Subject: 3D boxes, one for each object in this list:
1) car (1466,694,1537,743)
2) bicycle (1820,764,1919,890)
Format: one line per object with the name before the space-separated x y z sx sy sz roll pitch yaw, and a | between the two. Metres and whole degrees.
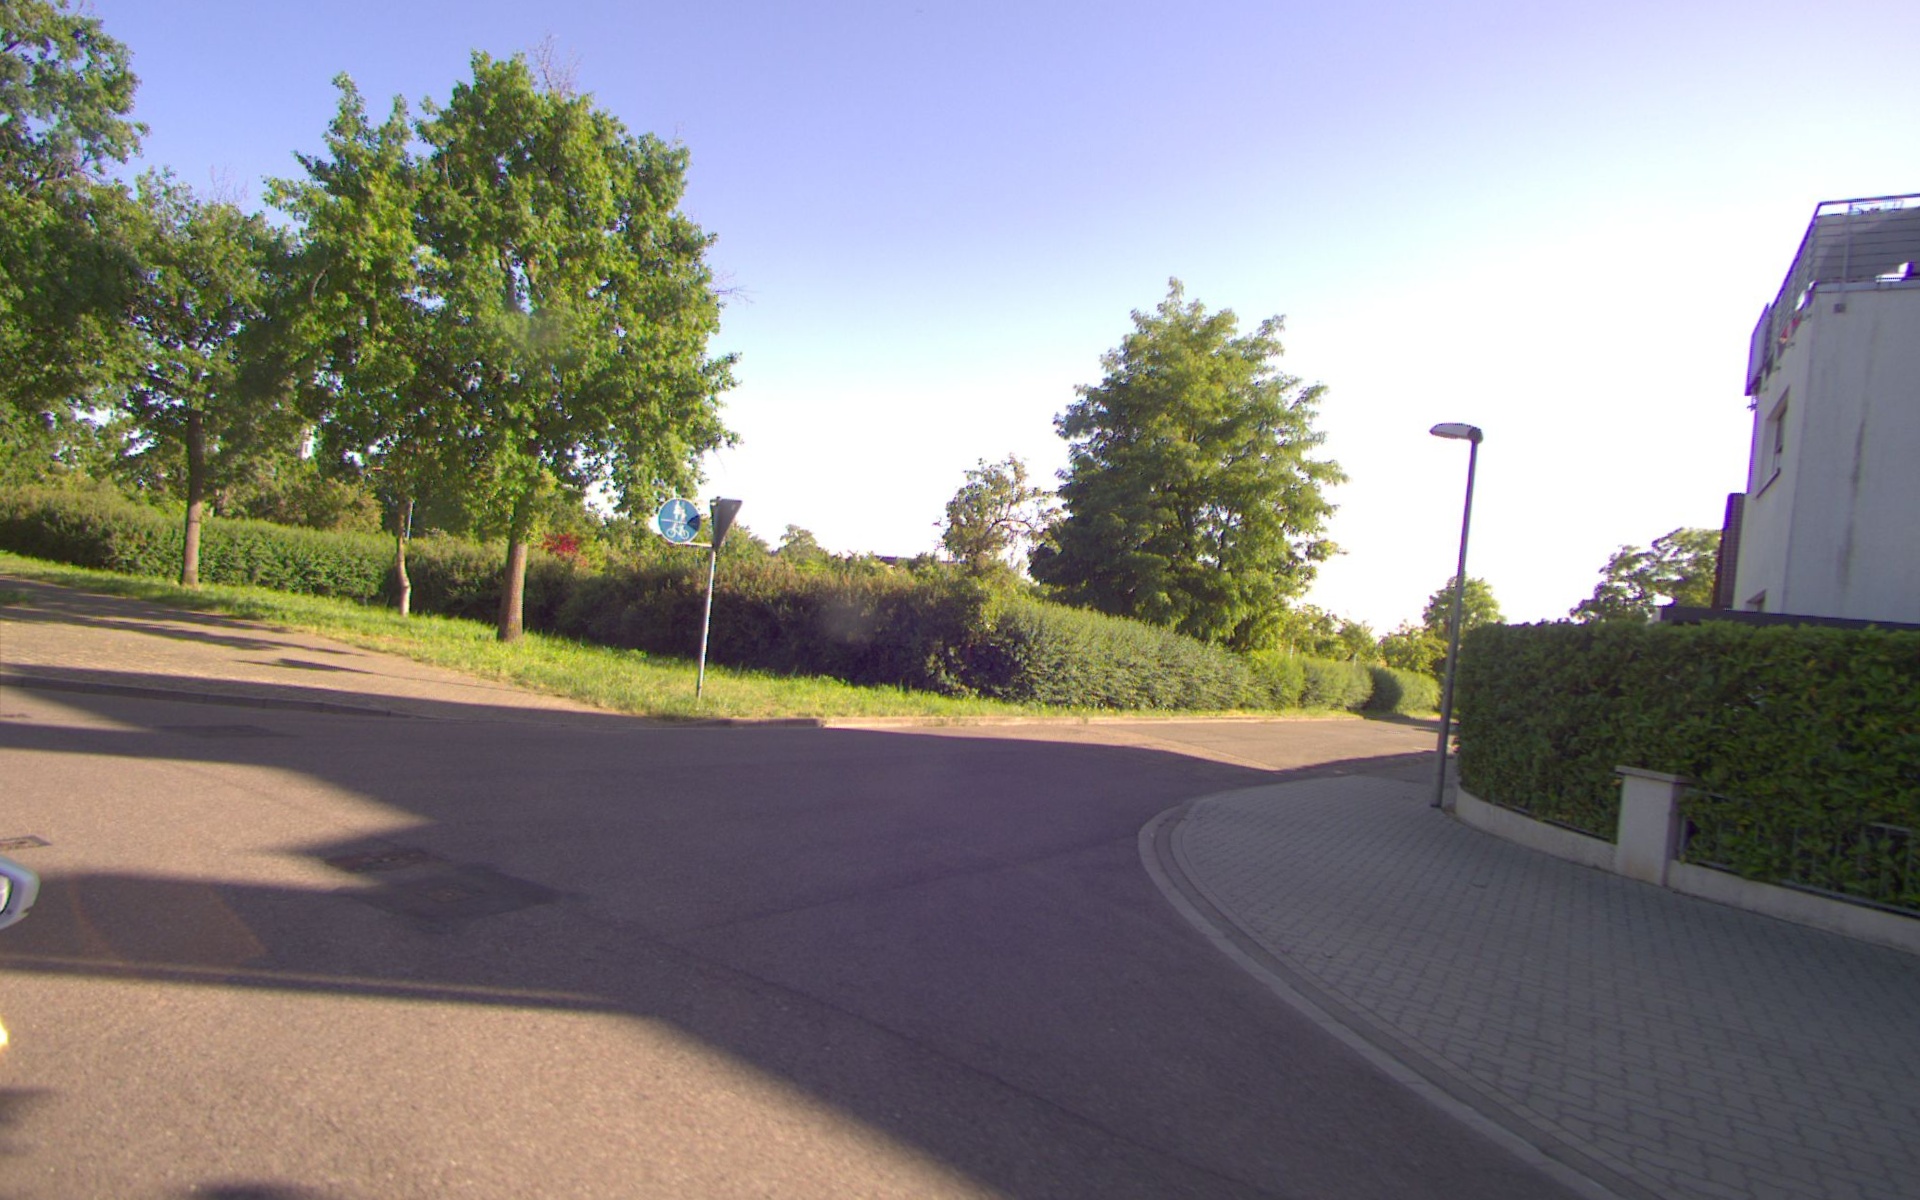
car | 20.183 4.381 37.422 1.679 1.548 3.987 5 -2 37
bicycle | 9.692 2.334 10.137 0.522 1.067 1.674 6 -1 1
